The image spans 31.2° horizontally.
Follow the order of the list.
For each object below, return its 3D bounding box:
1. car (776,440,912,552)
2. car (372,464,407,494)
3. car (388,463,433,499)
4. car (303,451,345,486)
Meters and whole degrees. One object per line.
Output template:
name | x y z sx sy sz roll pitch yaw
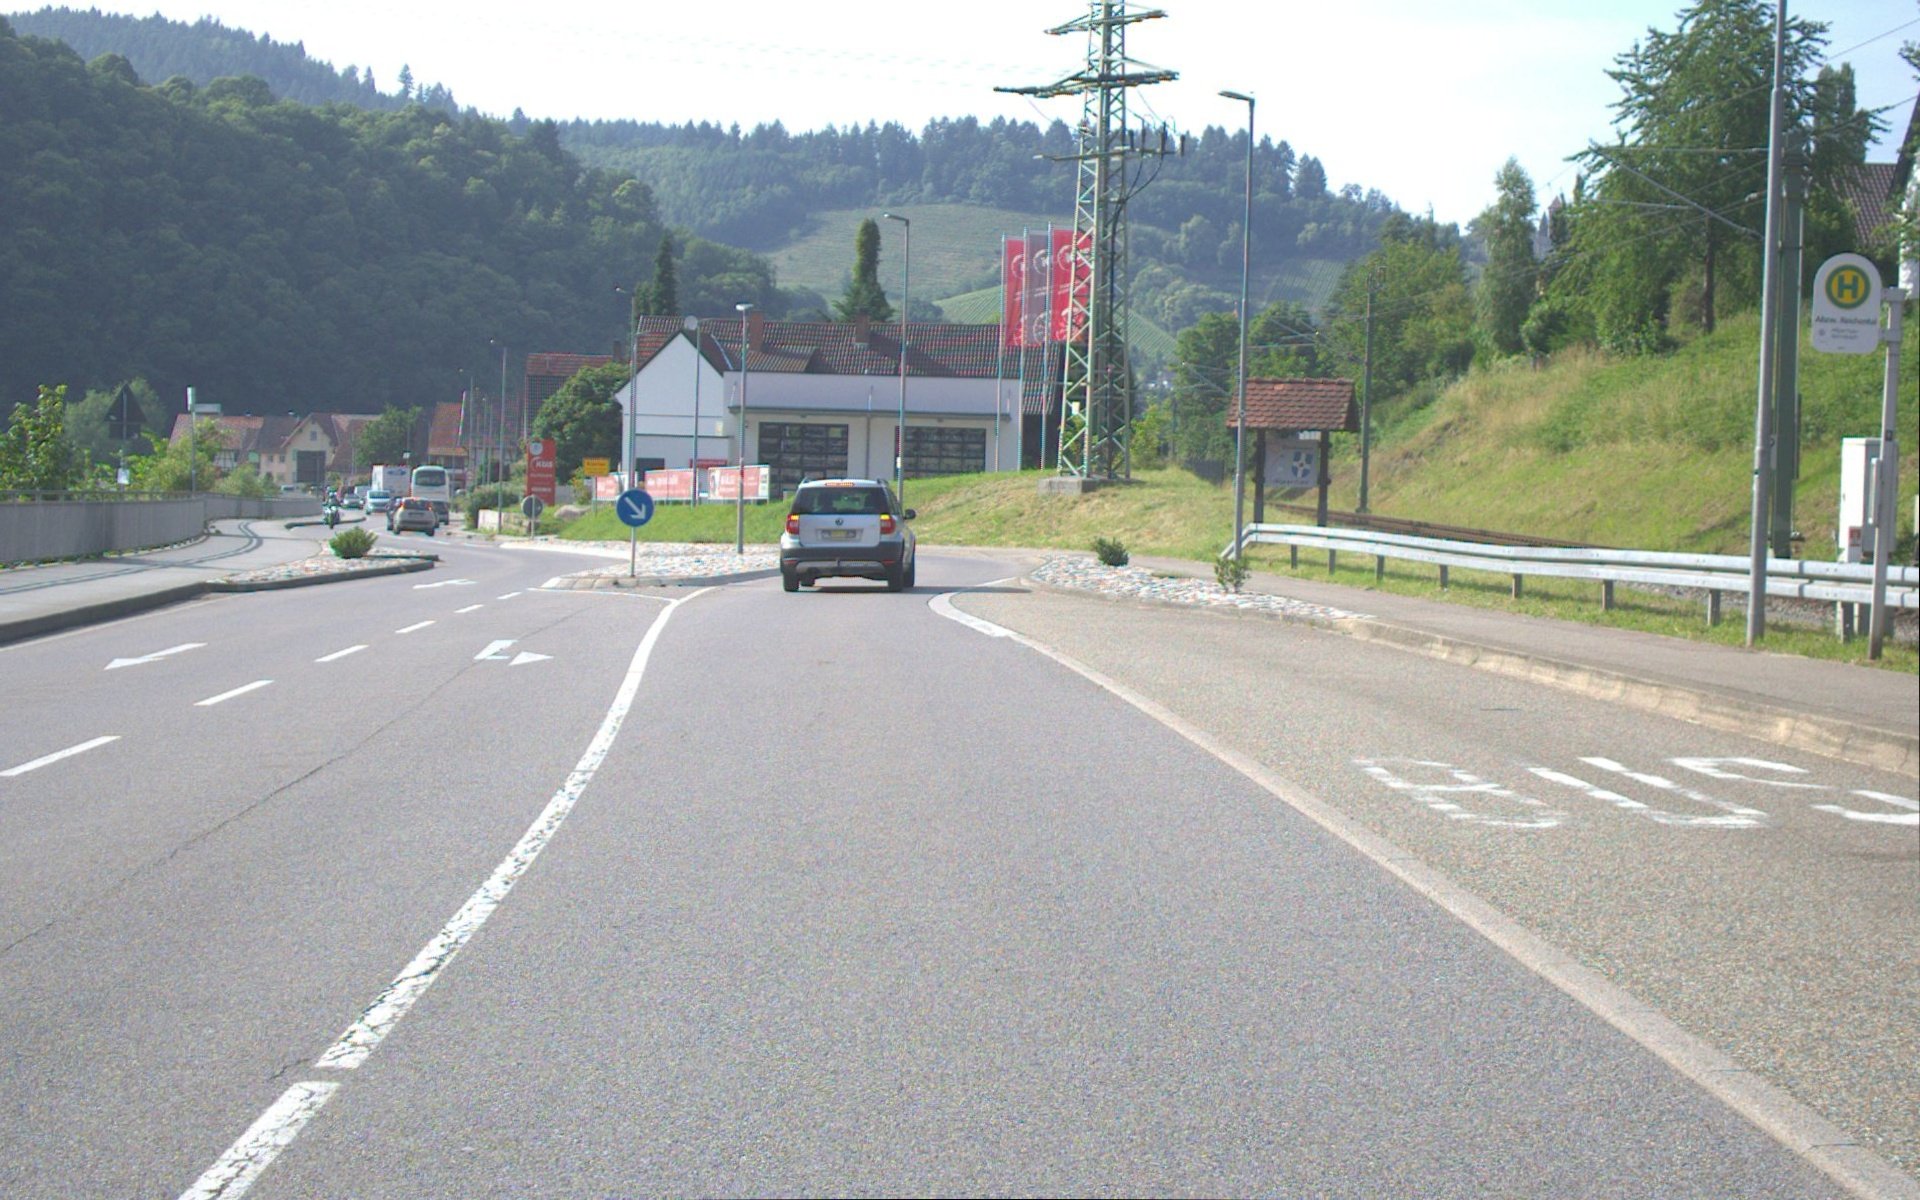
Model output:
car | -1.779 -1.558 51.340 1.860 1.539 4.374 2 2 -4
car | -28.289 -6.008 170.361 1.232 1.430 2.641 -1 3 -20
car | -23.152 -5.014 144.708 1.453 1.430 2.937 1 3 -17
car | -29.867 -6.188 161.537 1.668 1.544 3.705 2 3 -7
